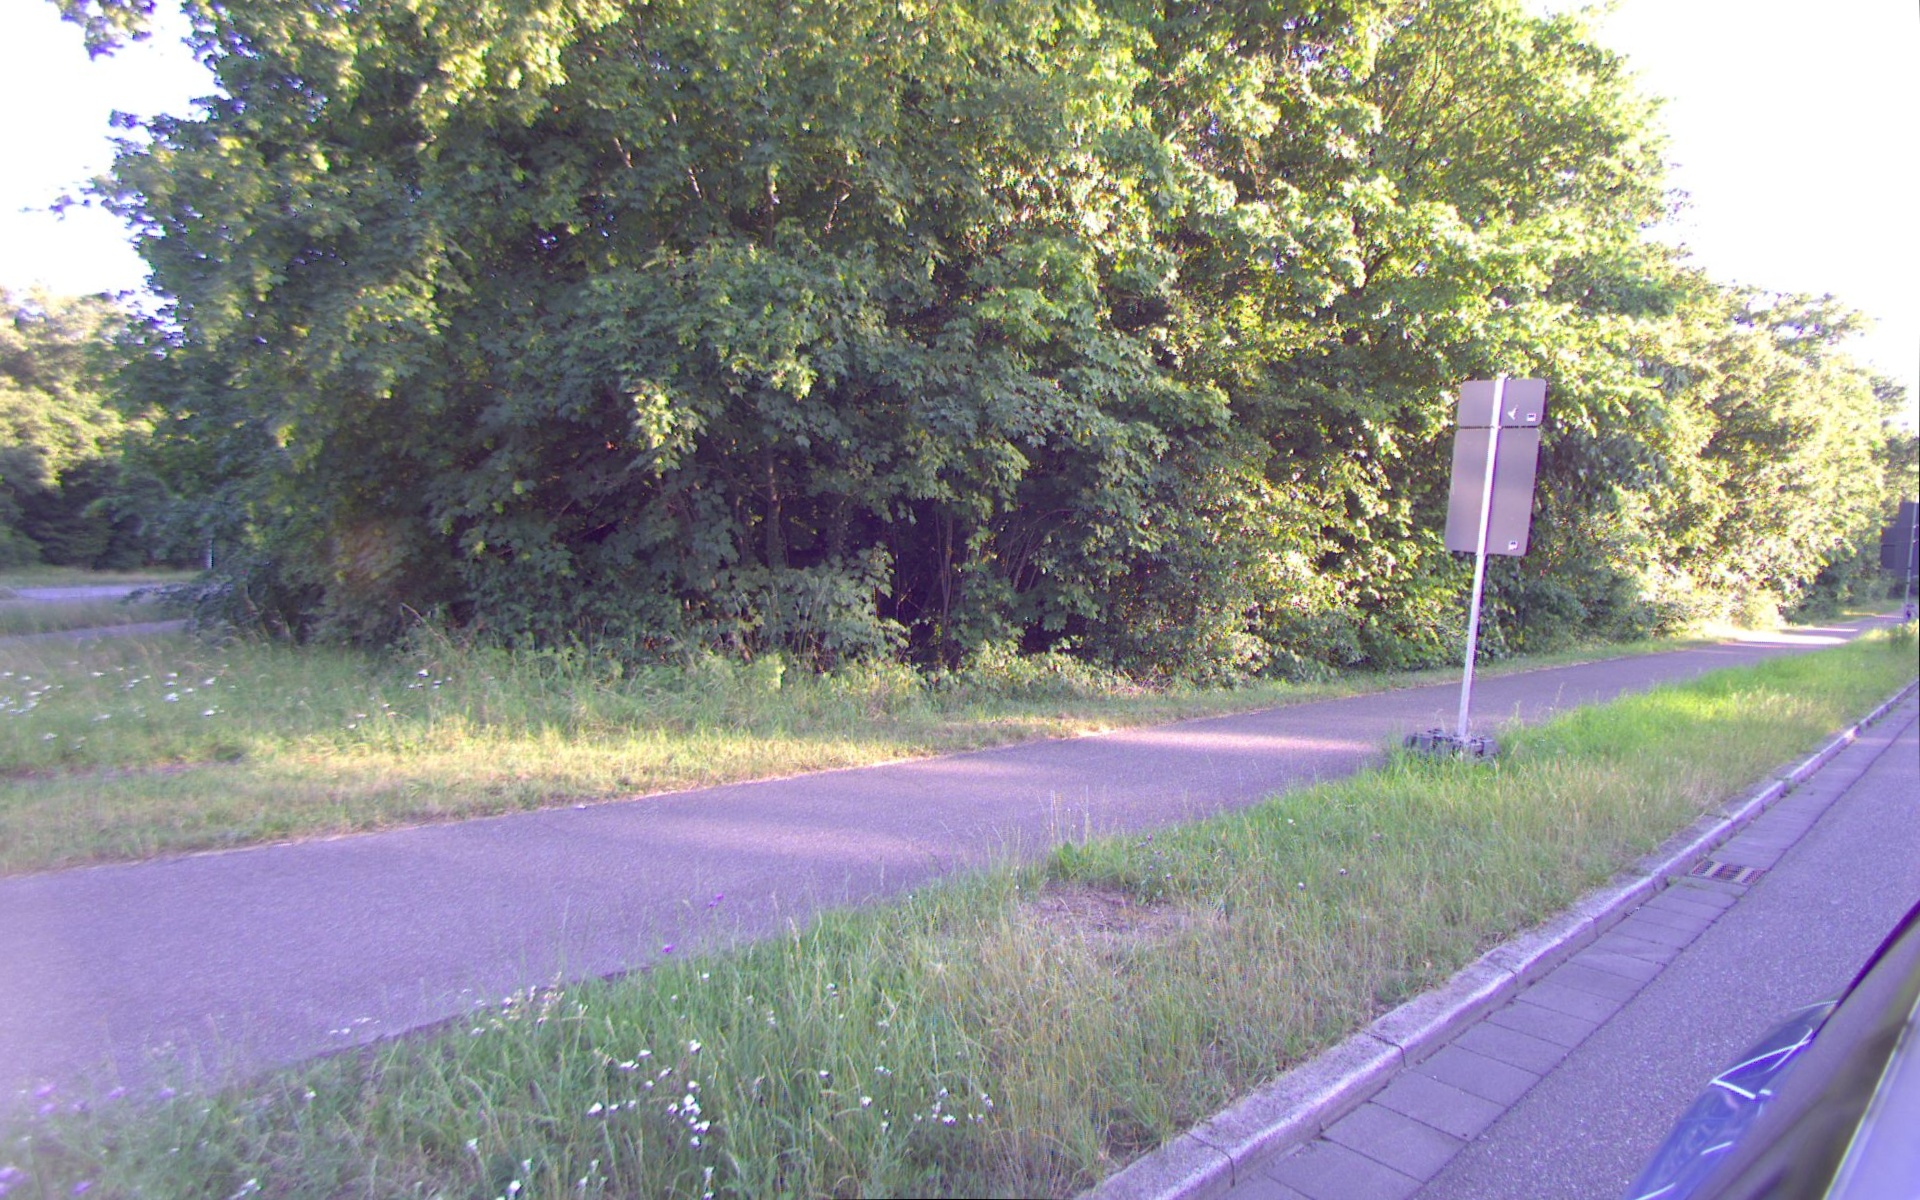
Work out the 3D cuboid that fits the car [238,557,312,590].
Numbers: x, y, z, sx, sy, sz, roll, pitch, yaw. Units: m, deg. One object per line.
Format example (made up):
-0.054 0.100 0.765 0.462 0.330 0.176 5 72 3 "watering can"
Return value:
-33.971 -1.319 50.350 1.958 1.549 4.689 0 1 -20 "car"
